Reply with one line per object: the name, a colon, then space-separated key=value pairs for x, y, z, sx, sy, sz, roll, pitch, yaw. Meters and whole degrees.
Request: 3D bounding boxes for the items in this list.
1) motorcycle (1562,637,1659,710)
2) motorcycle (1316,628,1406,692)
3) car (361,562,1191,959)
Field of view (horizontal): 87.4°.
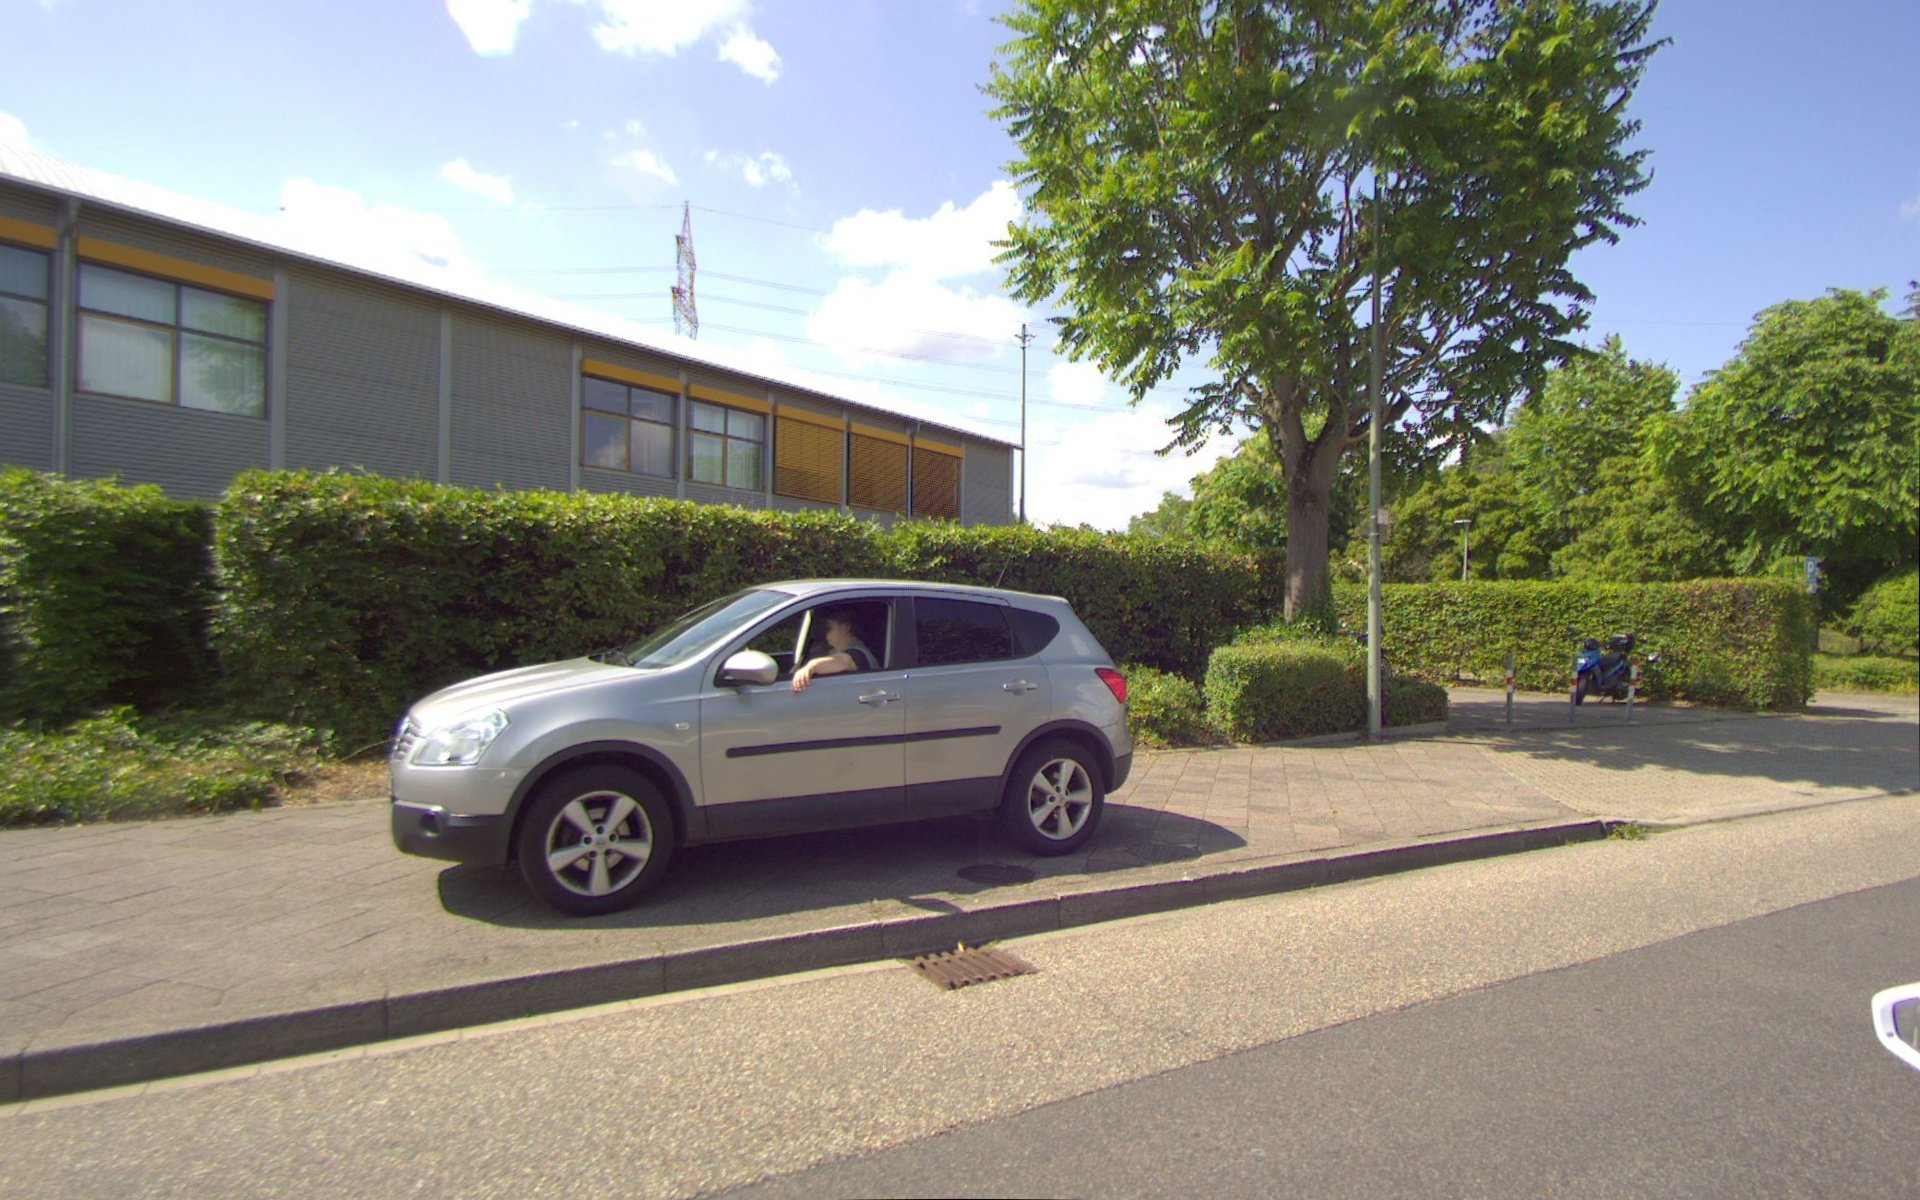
motorcycle: x=11.579 y=1.290 z=17.850 sx=2.059 sy=1.236 sz=0.530 roll=1 pitch=-1 yaw=-28
motorcycle: x=8.933 y=1.317 z=22.319 sx=2.269 sy=1.368 sz=0.530 roll=1 pitch=-1 yaw=-28
car: x=-0.906 y=0.708 z=5.924 sx=4.424 sy=1.595 sz=1.749 roll=2 pitch=-1 yaw=-30
